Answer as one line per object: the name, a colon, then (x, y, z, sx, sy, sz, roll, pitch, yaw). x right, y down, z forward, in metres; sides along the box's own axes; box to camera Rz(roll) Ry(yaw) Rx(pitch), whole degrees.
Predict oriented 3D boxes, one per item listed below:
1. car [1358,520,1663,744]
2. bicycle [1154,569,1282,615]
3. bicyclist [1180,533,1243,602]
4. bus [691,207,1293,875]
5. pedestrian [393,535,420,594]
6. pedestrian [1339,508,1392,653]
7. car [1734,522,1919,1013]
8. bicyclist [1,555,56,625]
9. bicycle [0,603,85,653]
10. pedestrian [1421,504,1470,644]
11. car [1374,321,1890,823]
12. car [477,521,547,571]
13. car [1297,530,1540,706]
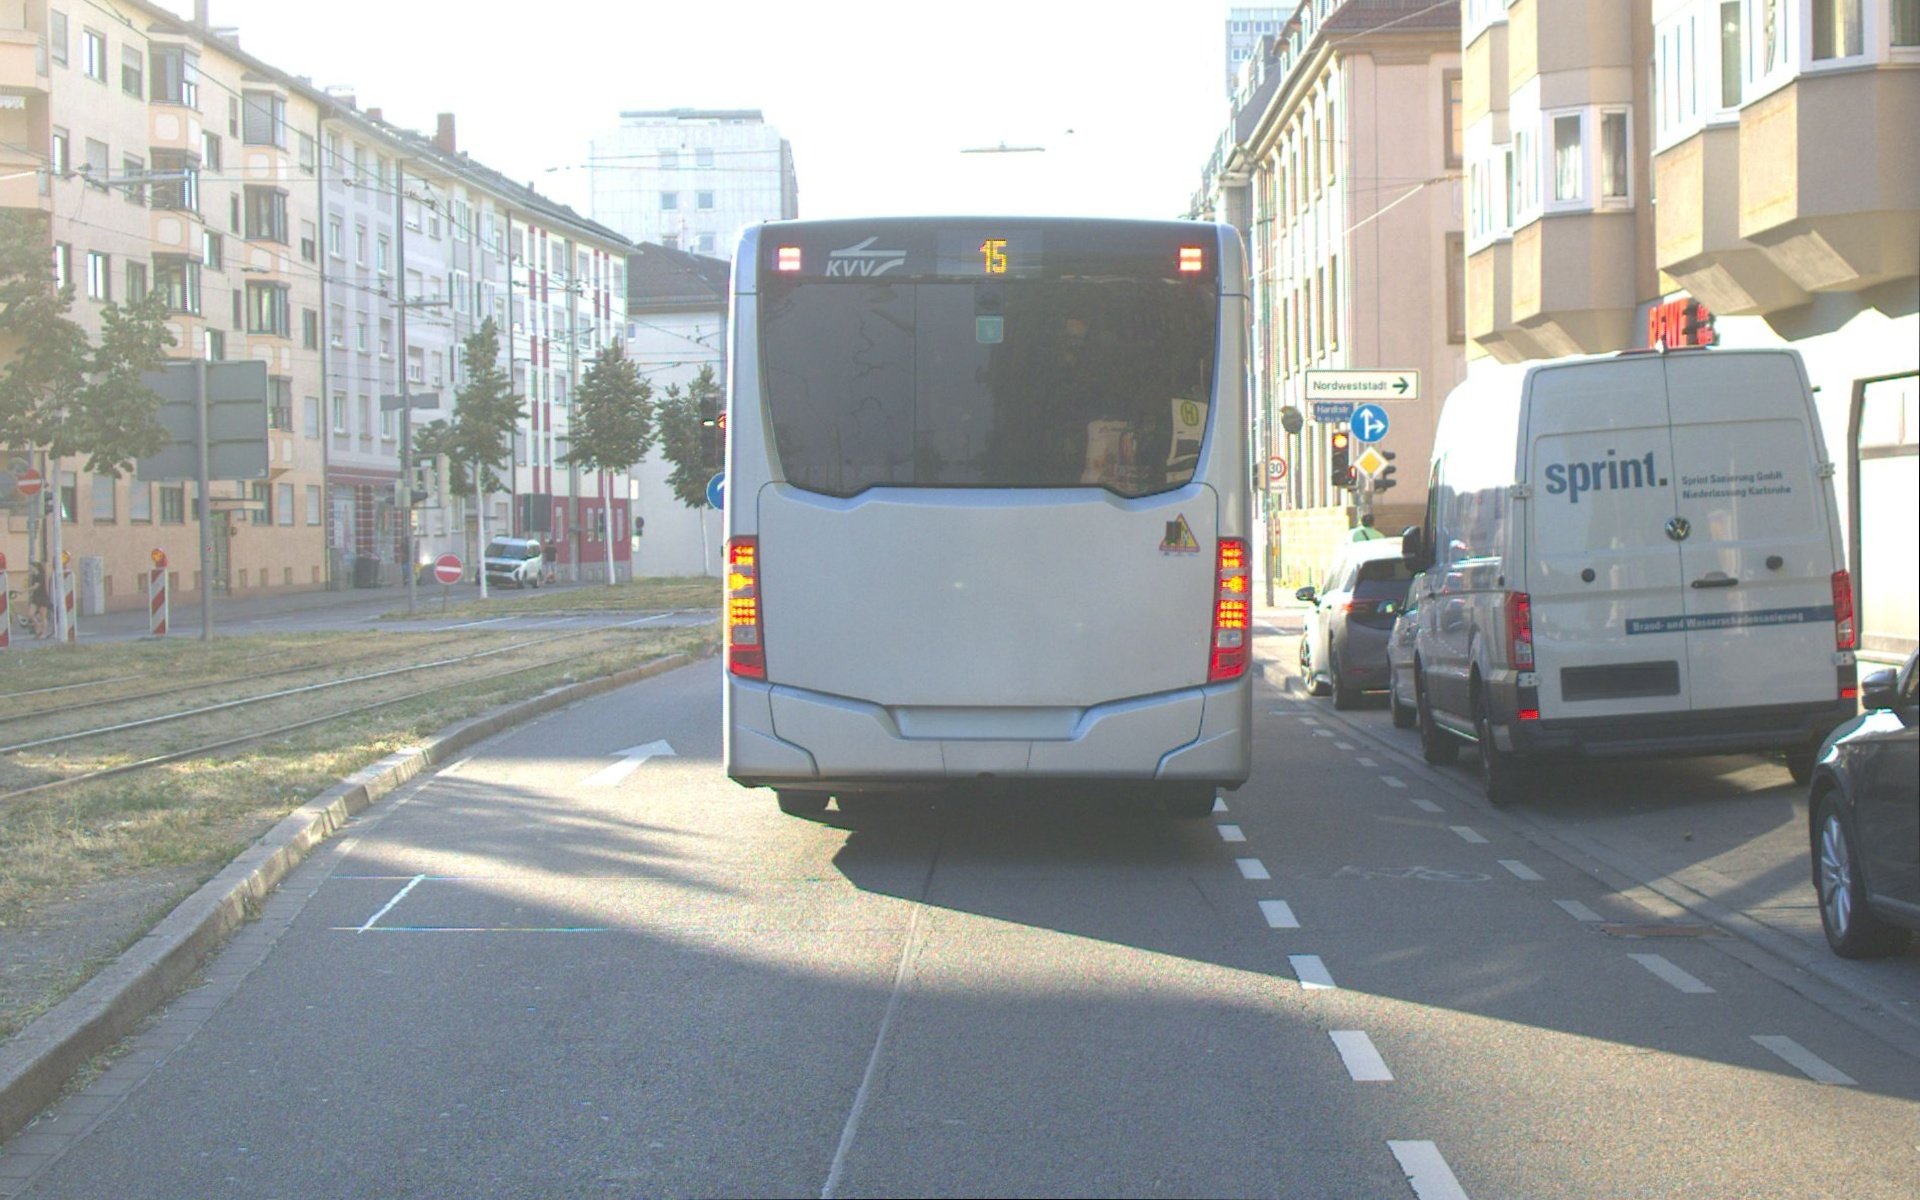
car: (4.203, 0.198, 26.788, 1.838, 1.582, 3.785, -1, 1, 2)
bicycle: (4.431, -0.143, 59.053, 2.062, 0.730, 0.763, -1, 1, -9)
bicyclist: (4.310, -0.553, 59.011, 0.932, 1.157, 0.644, -1, 1, -9)
bus: (0.257, -0.353, 20.246, 2.739, 3.045, 8.853, 1, 1, 2)
pedestrian: (-18.983, -1.226, 117.923, 0.786, 2.007, 0.891, -1, 1, -2)
pedestrian: (5.015, -0.244, 42.484, 0.547, 1.778, 0.449, -1, 1, -3)
car: (3.837, 0.494, 10.740, 1.696, 1.525, 4.652, -4, 1, 0)
bicyclist: (-19.395, -0.215, 71.577, 0.528, 1.442, 0.964, -1, 1, 32)
bicycle: (-19.187, 0.572, 71.884, 0.528, 0.980, 1.880, -1, 1, 32)
pedestrian: (6.240, -0.336, 44.200, 0.547, 1.778, 0.449, -1, 1, 1)
car: (3.947, -0.198, 21.297, 2.017, 2.542, 5.785, -4, 1, 1)
car: (-16.558, -1.994, 127.233, 1.812, 1.791, 4.245, -1, 1, 3)
car: (4.286, 0.125, 32.726, 1.838, 1.531, 4.230, -1, 1, 2)
